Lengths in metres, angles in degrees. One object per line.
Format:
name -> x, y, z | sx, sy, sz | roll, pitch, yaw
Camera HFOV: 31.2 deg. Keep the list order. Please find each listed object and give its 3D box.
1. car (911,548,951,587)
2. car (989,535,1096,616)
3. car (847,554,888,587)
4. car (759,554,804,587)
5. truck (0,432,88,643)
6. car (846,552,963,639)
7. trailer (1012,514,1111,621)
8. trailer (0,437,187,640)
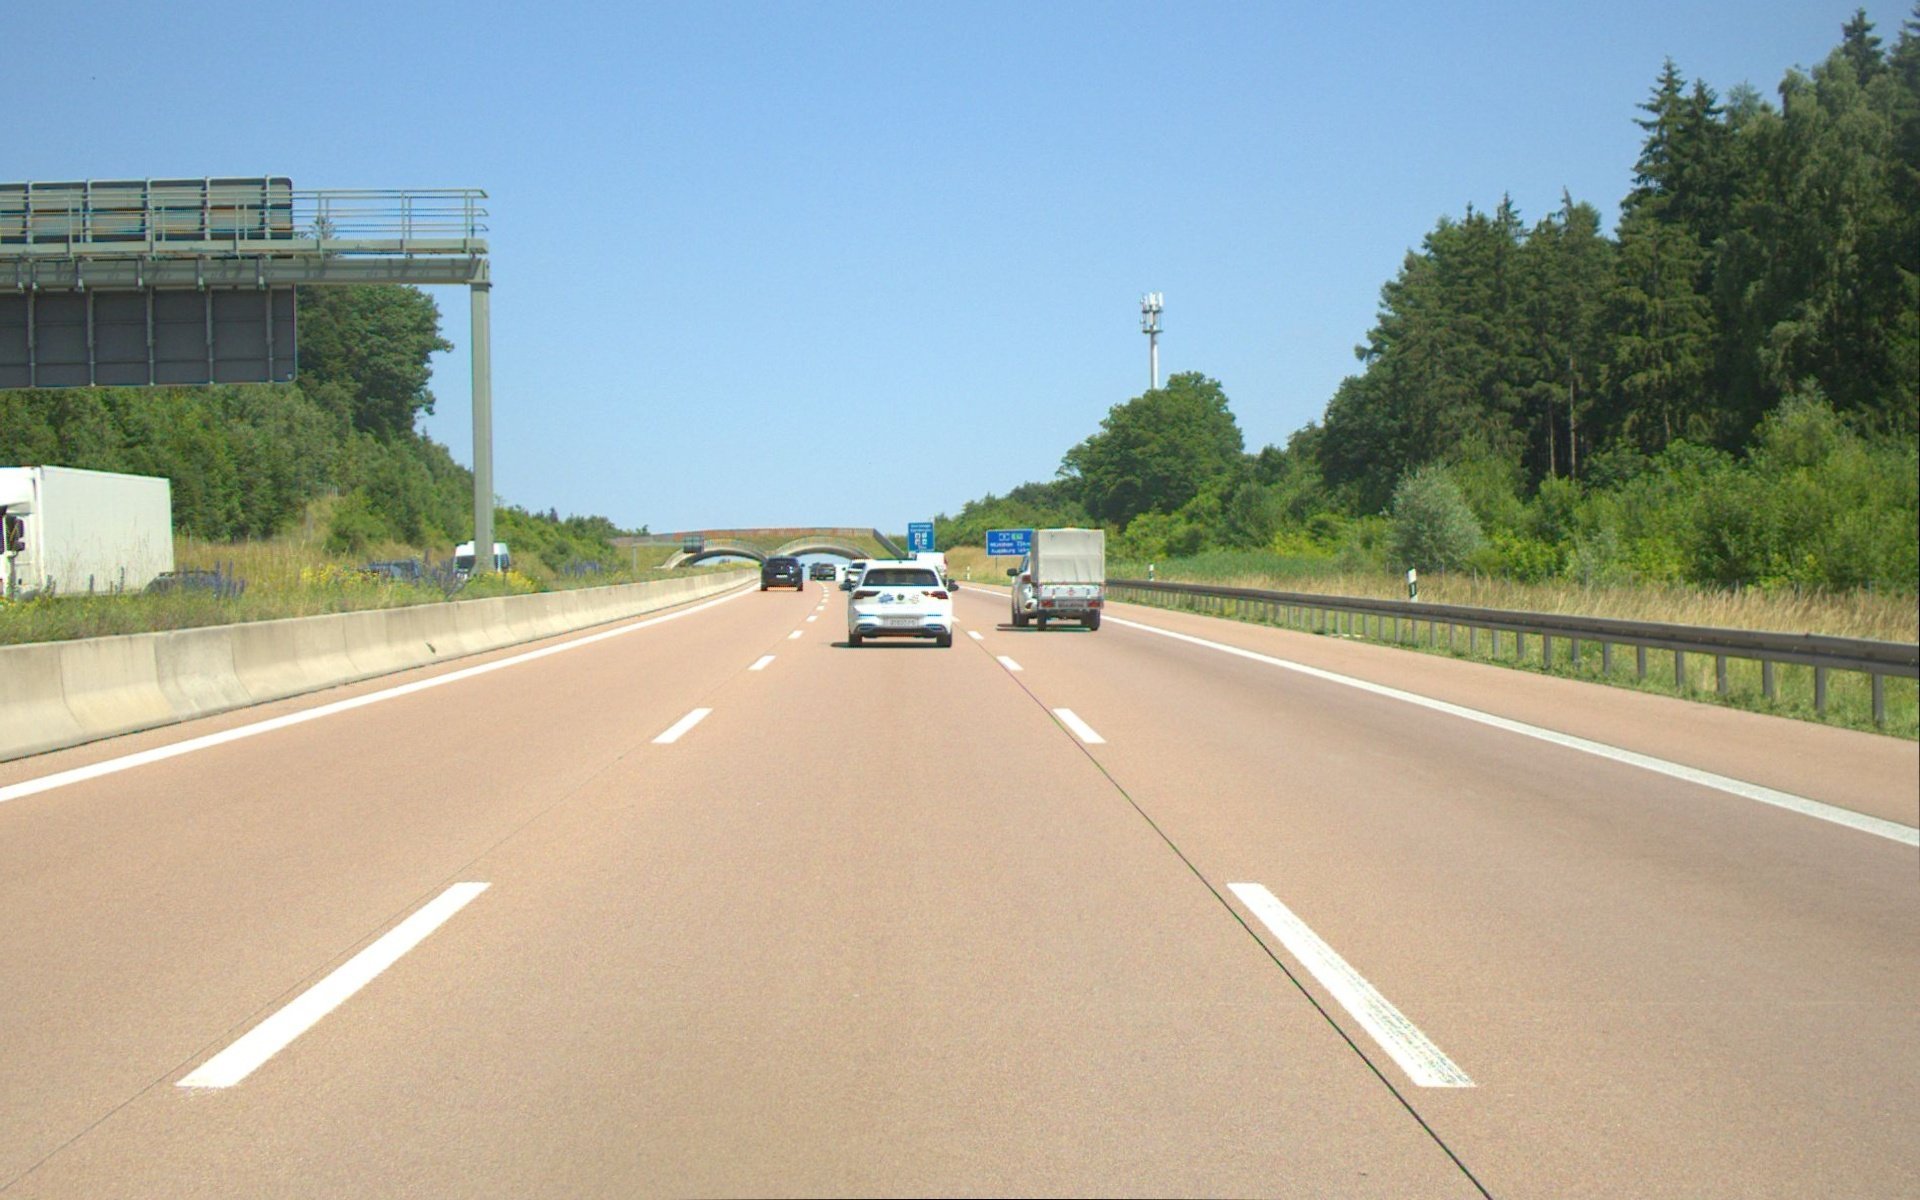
car -> -1.555, -1.754, 185.196 | 2.110, 2.047, 4.000 | 0, 1, 0
car -> 1.787, -0.548, 75.941 | 1.890, 1.722, 5.187 | 0, 0, -4
car -> -4.294, -1.377, 159.149 | 1.890, 1.458, 4.000 | 0, 1, -2
car -> -8.134, -1.363, 156.873 | 1.891, 1.458, 4.000 | 0, 1, 0
truck -> -21.013, -1.353, 74.342 | 2.703, 4.365, 6.478 | 0, 1, -1
car -> -0.930, -0.092, 58.292 | 1.891, 1.393, 4.000 | 1, 1, 0
trailer -> 2.077, -0.656, 71.410 | 1.657, 2.156, 4.016 | 0, 0, -4
trailer -> -21.015, -1.439, 81.309 | 2.703, 4.419, 13.193 | 0, 1, -1
